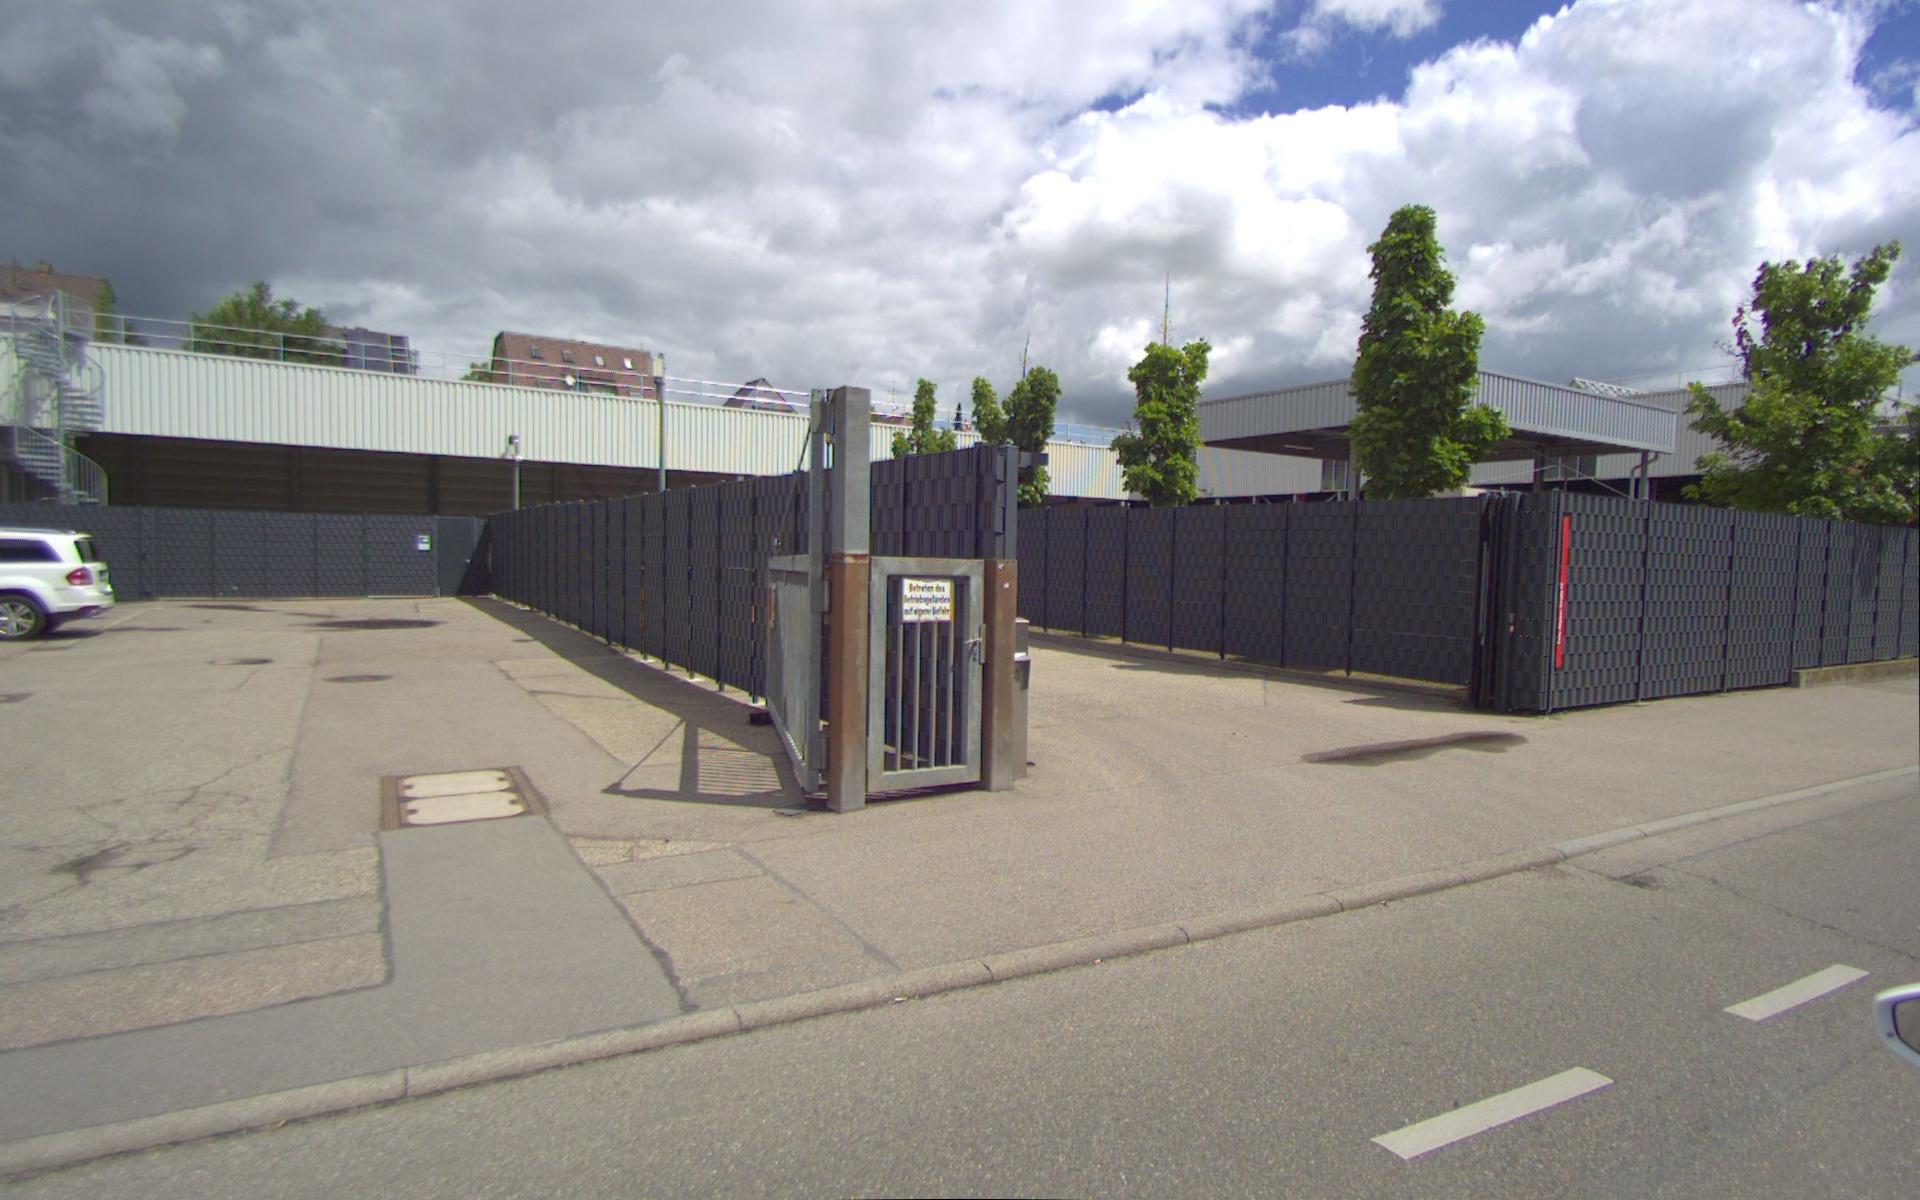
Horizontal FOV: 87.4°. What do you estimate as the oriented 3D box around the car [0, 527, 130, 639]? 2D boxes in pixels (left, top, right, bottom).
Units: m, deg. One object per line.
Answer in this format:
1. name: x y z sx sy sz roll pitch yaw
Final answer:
1. car: -17.447 -0.350 16.945 5.039 1.856 1.982 1 3 -32
